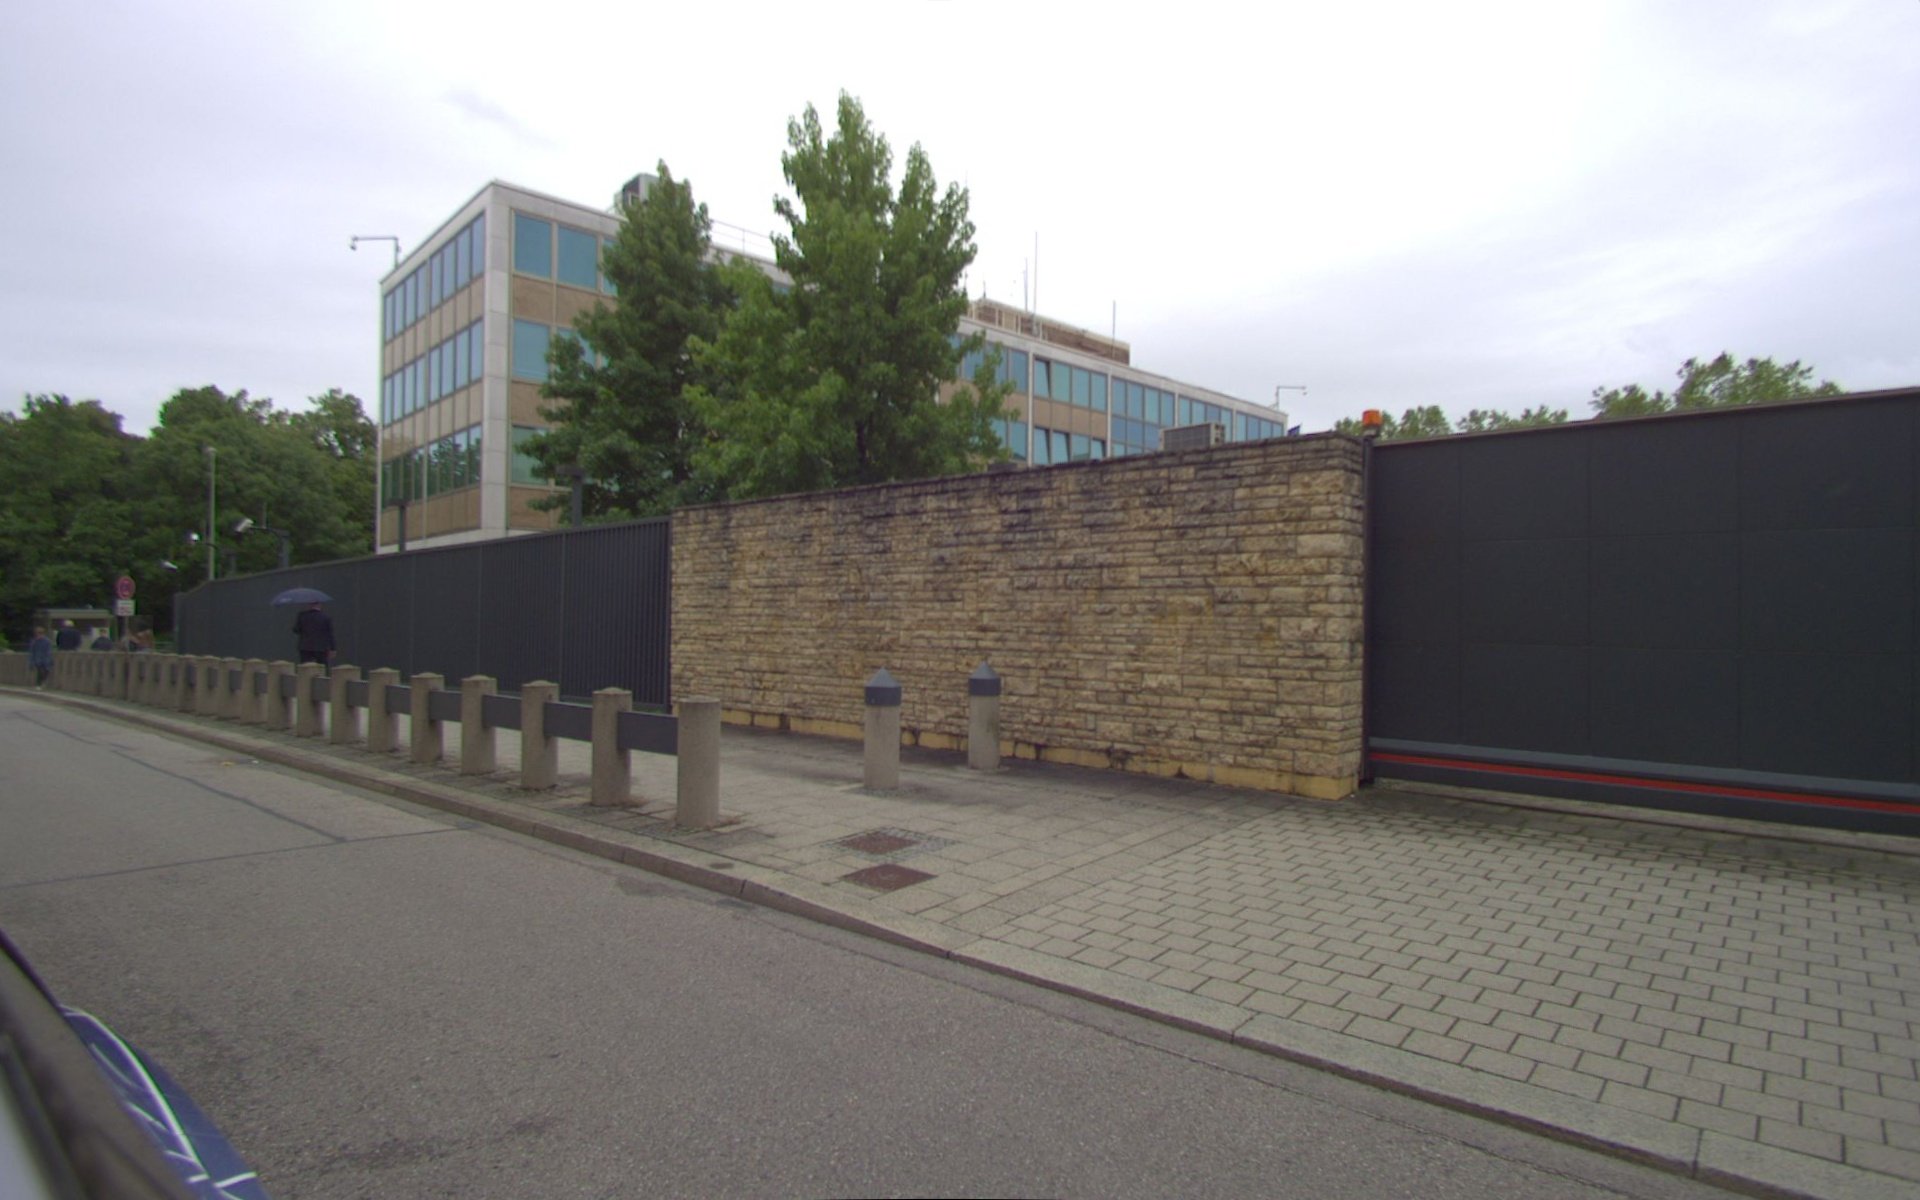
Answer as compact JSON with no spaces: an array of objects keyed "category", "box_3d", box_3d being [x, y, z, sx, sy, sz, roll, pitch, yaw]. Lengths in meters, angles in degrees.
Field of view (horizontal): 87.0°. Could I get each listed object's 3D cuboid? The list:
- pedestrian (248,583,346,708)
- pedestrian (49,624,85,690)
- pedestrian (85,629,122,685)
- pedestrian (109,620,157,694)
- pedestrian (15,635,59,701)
[{"category":"pedestrian","box_3d":[-11.802,0.798,18.030,1.116,2.120,1.210,-2,-3,43]},{"category":"pedestrian","box_3d":[-24.585,1.548,27.859,0.766,1.782,0.617,-2,-3,40]},{"category":"pedestrian","box_3d":[-24.840,1.649,29.351,0.768,1.551,0.934,-1,-1,-42]},{"category":"pedestrian","box_3d":[-20.307,1.388,24.857,0.814,1.736,0.906,-1,-1,-44]},{"category":"pedestrian","box_3d":[-21.737,1.582,23.839,1.078,1.478,0.632,-2,-1,41]}]
